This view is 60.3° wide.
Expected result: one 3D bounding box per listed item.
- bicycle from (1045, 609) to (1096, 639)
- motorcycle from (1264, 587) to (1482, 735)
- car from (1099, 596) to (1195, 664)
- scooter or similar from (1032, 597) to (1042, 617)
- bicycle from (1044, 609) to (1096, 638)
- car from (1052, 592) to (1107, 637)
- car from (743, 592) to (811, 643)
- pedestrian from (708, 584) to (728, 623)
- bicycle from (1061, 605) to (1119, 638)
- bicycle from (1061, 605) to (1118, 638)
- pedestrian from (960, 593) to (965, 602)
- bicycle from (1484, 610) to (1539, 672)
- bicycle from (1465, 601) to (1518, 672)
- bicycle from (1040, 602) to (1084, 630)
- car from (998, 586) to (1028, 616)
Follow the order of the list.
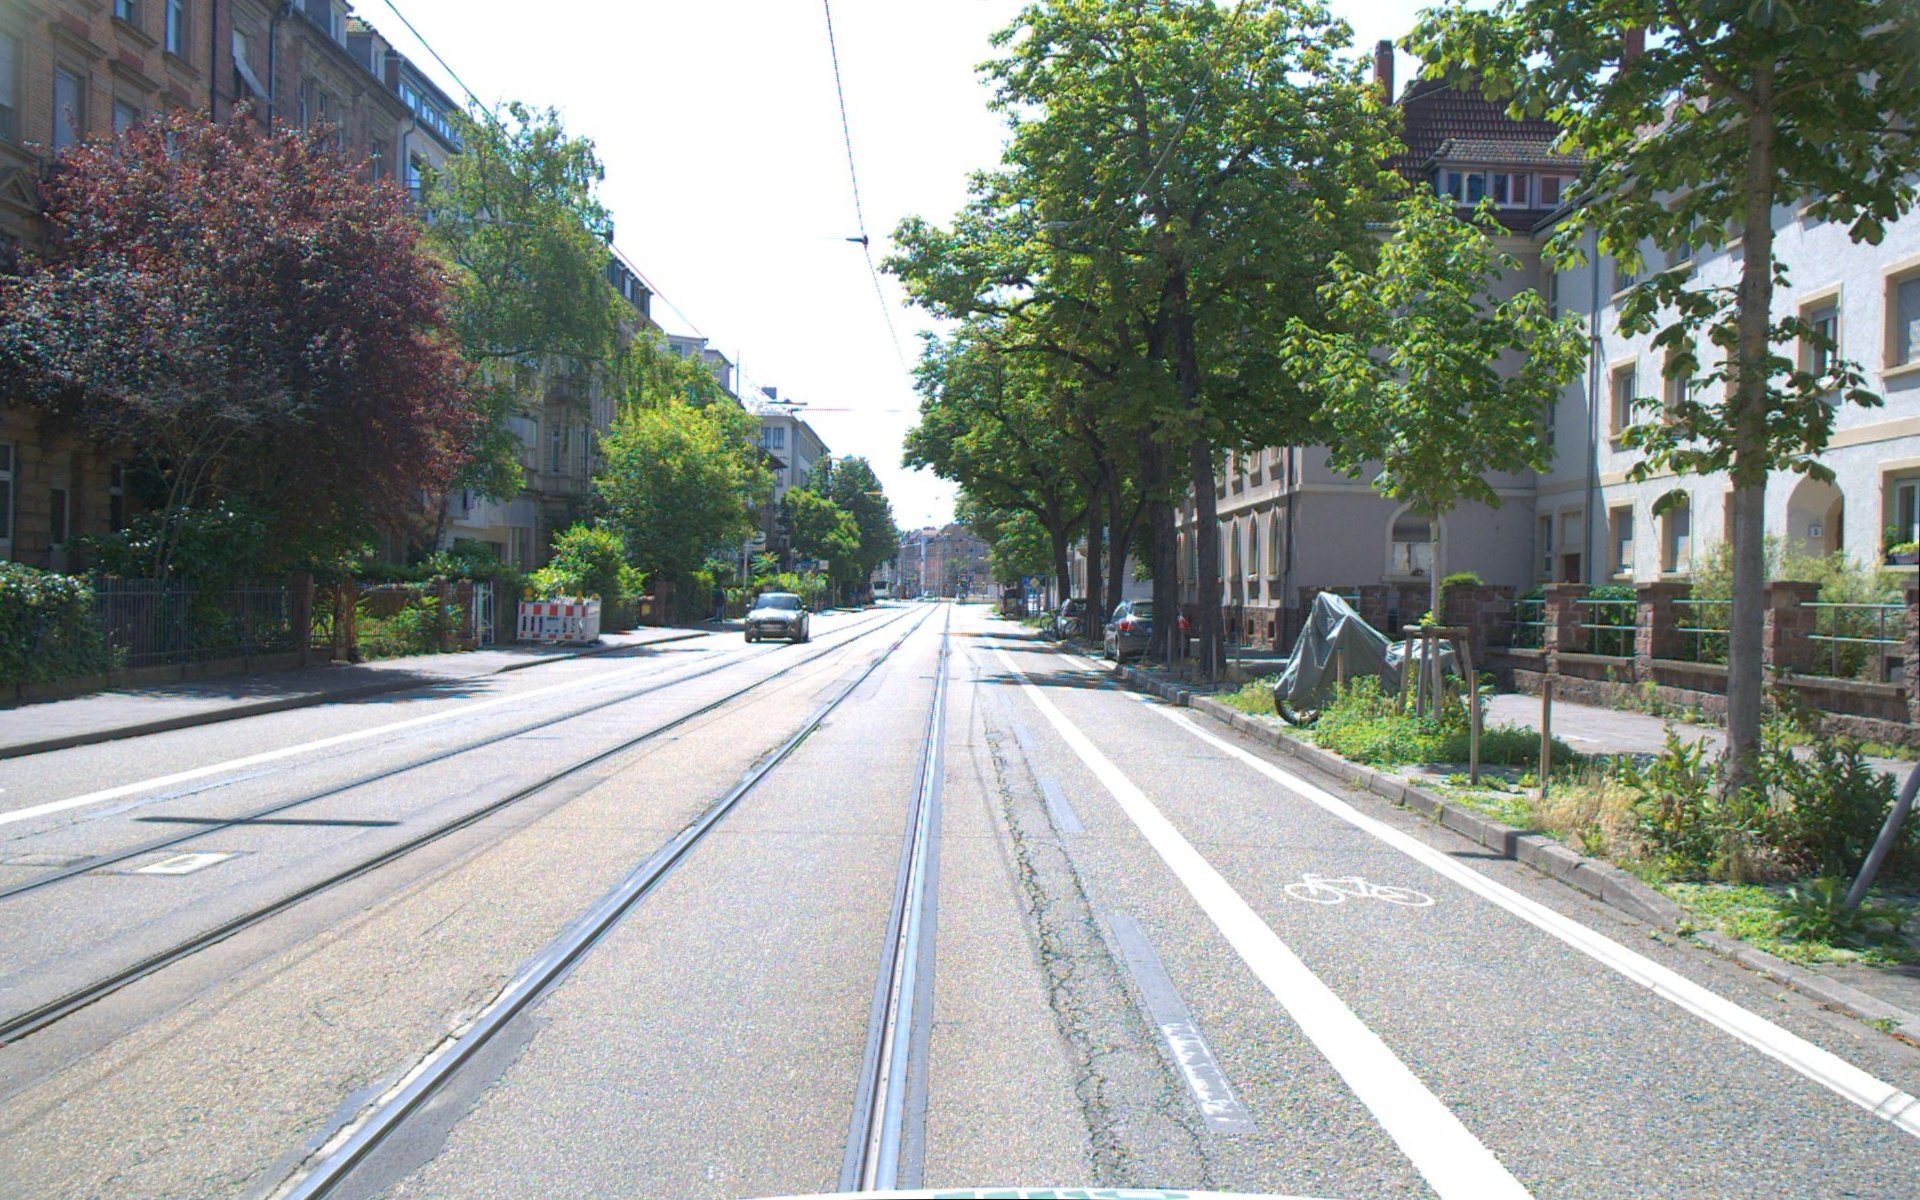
[{"bbox_3d":[4.228,0.913,63.502,1.922,1.133,0.599,-1,-1,2],"label":"bicycle"},{"bbox_3d":[4.679,0.654,18.877,2.280,1.567,0.864,1,0,43],"label":"motorcycle"},{"bbox_3d":[4.507,0.687,40.449,1.738,1.527,4.304,-1,1,-1],"label":"car"},{"bbox_3d":[4.894,0.426,105.395,0.491,1.251,1.573,1,0,-1],"label":"scooter or similar"},{"bbox_3d":[4.273,0.913,64.165,1.968,1.133,0.640,-1,-1,2],"label":"bicycle"},{"bbox_3d":[4.232,0.517,59.110,1.589,1.473,3.809,-2,0,-1],"label":"car"},{"bbox_3d":[-5.483,0.503,49.898,1.652,1.480,3.748,1,0,-1],"label":"car"},{"bbox_3d":[-10.439,0.150,71.410,0.735,1.657,0.833,1,0,-1],"label":"pedestrian"},{"bbox_3d":[4.310,0.707,54.799,1.921,1.082,0.599,0,0,6],"label":"bicycle"},{"bbox_3d":[4.261,0.709,54.383,1.849,1.070,0.538,0,-1,6],"label":"bicycle"},{"bbox_3d":[0.306,-0.334,210.984,0.485,1.193,0.585,0,0,-26],"label":"pedestrian"},{"bbox_3d":[9.928,0.726,29.806,0.450,1.074,1.564,0,0,0],"label":"bicycle"},{"bbox_3d":[9.558,0.641,29.796,0.450,1.212,1.564,0,0,0],"label":"bicycle"},{"bbox_3d":[4.232,0.662,68.551,1.779,1.133,0.493,-1,-1,-1],"label":"bicycle"},{"bbox_3d":[3.730,0.052,117.673,1.952,2.071,4.696,0,1,0],"label":"car"}]
